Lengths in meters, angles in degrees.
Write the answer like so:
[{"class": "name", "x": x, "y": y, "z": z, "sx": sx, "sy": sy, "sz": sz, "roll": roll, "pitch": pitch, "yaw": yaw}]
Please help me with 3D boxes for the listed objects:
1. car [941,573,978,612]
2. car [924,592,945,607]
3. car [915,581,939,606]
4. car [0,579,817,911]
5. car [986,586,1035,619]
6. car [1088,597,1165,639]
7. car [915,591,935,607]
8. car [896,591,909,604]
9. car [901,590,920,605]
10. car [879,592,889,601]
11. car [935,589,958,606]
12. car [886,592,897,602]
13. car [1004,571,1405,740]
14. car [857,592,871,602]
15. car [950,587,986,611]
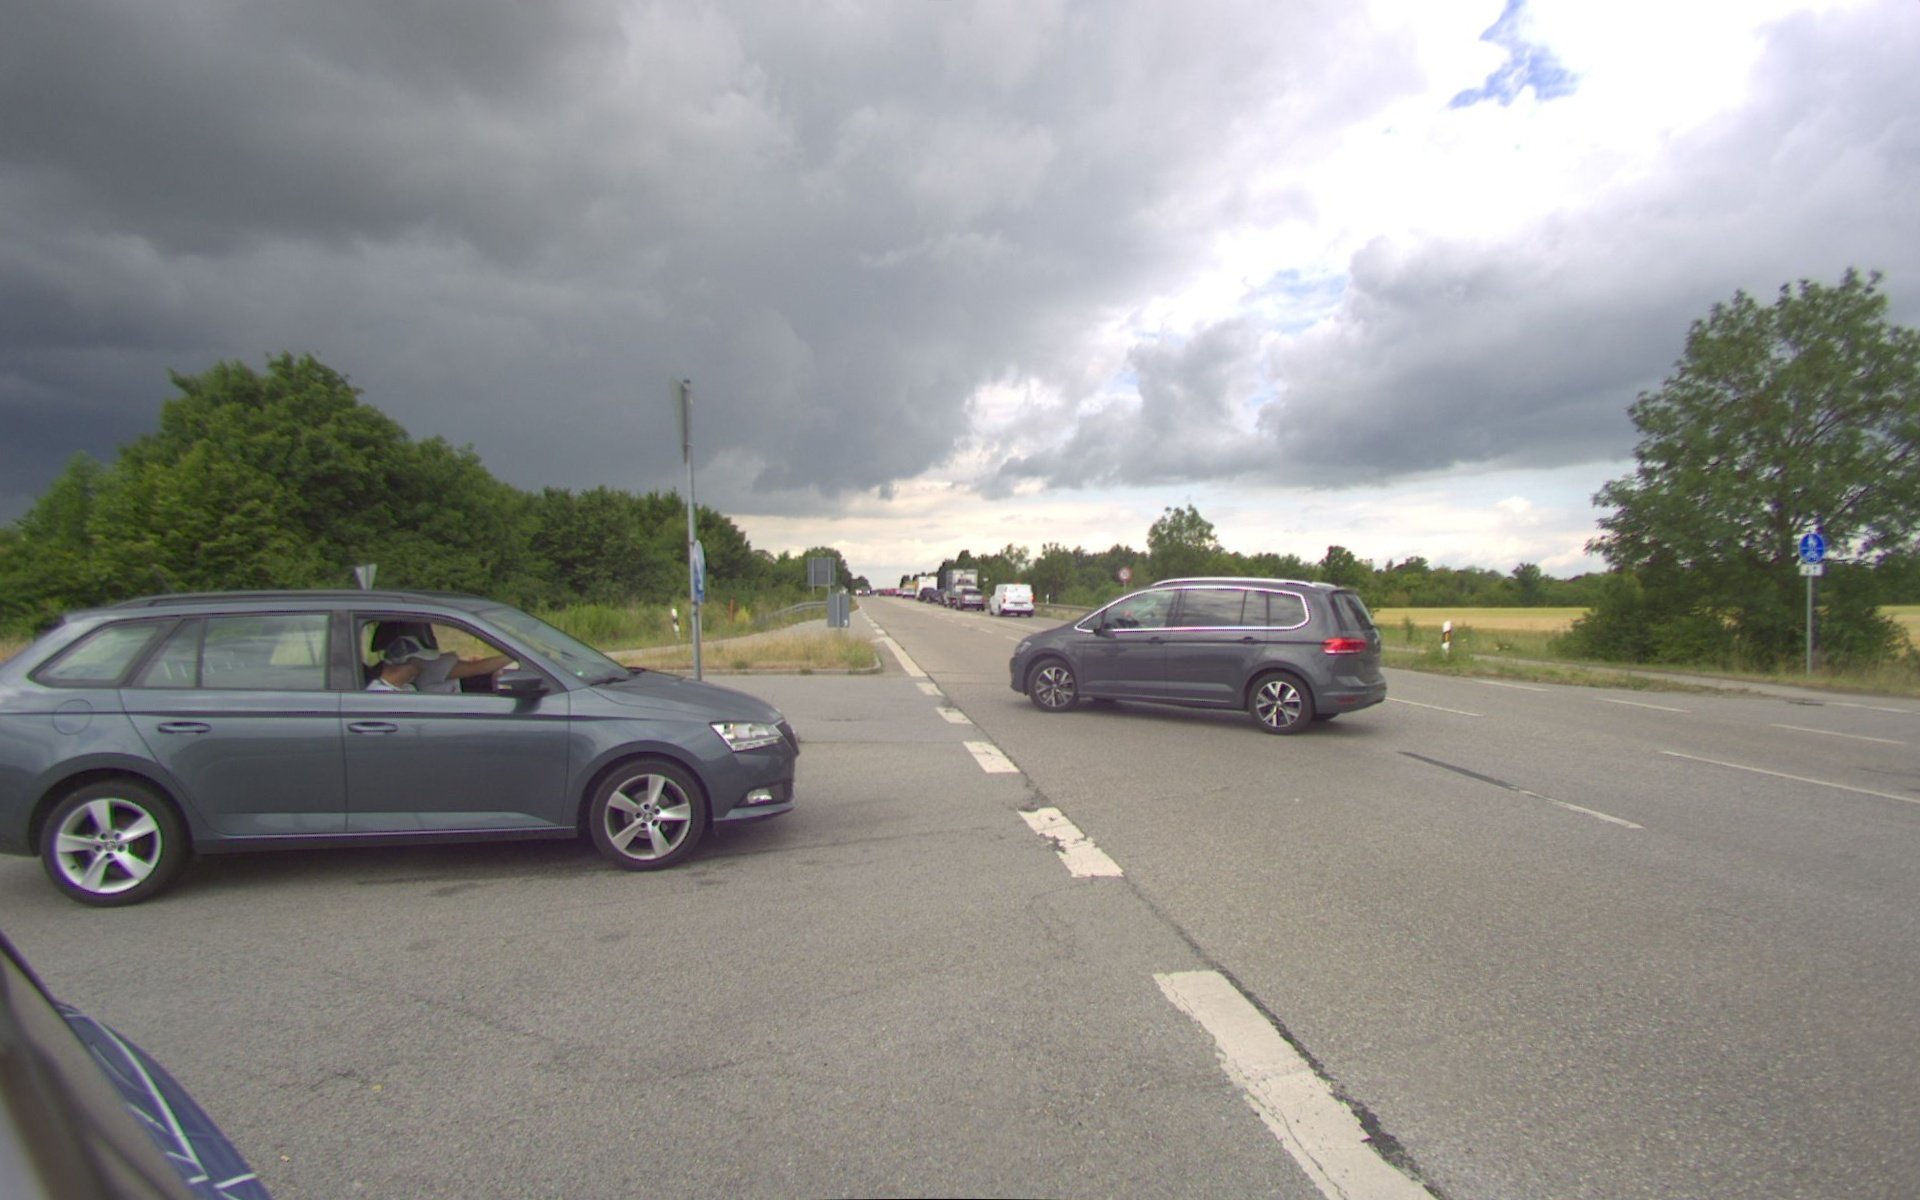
[{"class": "car", "x": -0.121, "y": -0.580, "z": 85.066, "sx": 2.305, "sy": 3.052, "sz": 6.567, "roll": 2, "pitch": -1, "yaw": -7}, {"class": "car", "x": -2.664, "y": -0.049, "z": 106.076, "sx": 1.820, "sy": 1.536, "sz": 4.006, "roll": -1, "pitch": 0, "yaw": -7}, {"class": "car", "x": -4.156, "y": -0.786, "z": 125.455, "sx": 2.304, "sy": 3.052, "sz": 6.568, "roll": -1, "pitch": 0, "yaw": -7}, {"class": "car", "x": -2.926, "y": 0.626, "z": 5.699, "sx": 4.048, "sy": 1.458, "sz": 1.723, "roll": -1, "pitch": 1, "yaw": -13}, {"class": "car", "x": 2.986, "y": 0.139, "z": 61.119, "sx": 2.080, "sy": 1.900, "sz": 5.399, "roll": 0, "pitch": 0, "yaw": -7}, {"class": "car", "x": 5.843, "y": 0.614, "z": 35.964, "sx": 1.652, "sy": 1.412, "sz": 4.095, "roll": 1, "pitch": 0, "yaw": -6}, {"class": "car", "x": -3.984, "y": -0.062, "z": 114.518, "sx": 1.829, "sy": 1.763, "sz": 4.006, "roll": 0, "pitch": 0, "yaw": -7}, {"class": "car", "x": -9.276, "y": -0.430, "z": 163.560, "sx": 1.769, "sy": 2.029, "sz": 4.007, "roll": -1, "pitch": 0, "yaw": -7}, {"class": "car", "x": -6.854, "y": -0.331, "z": 140.186, "sx": 2.304, "sy": 1.936, "sz": 4.882, "roll": -1, "pitch": 0, "yaw": -7}, {"class": "car", "x": -15.725, "y": -0.727, "z": 208.682, "sx": 1.829, "sy": 1.763, "sz": 4.005, "roll": 0, "pitch": 0, "yaw": -6}, {"class": "car", "x": -1.324, "y": -0.220, "z": 97.038, "sx": 1.820, "sy": 1.536, "sz": 4.006, "roll": -1, "pitch": 0, "yaw": -6}, {"class": "car", "x": -12.344, "y": -0.578, "z": 183.073, "sx": 1.829, "sy": 1.763, "sz": 4.005, "roll": 0, "pitch": 0, "yaw": -6}, {"class": "car", "x": 2.787, "y": 0.535, "z": 11.979, "sx": 4.282, "sy": 1.671, "sz": 1.732, "roll": 1, "pitch": 0, "yaw": 36}, {"class": "car", "x": -14.913, "y": -0.476, "z": 156.819, "sx": 1.969, "sy": 1.493, "sz": 4.006, "roll": 0, "pitch": 0, "yaw": -7}, {"class": "car", "x": 0.572, "y": -0.046, "z": 74.440, "sx": 1.968, "sy": 1.636, "sz": 4.268, "roll": 2, "pitch": -1, "yaw": -8}]
